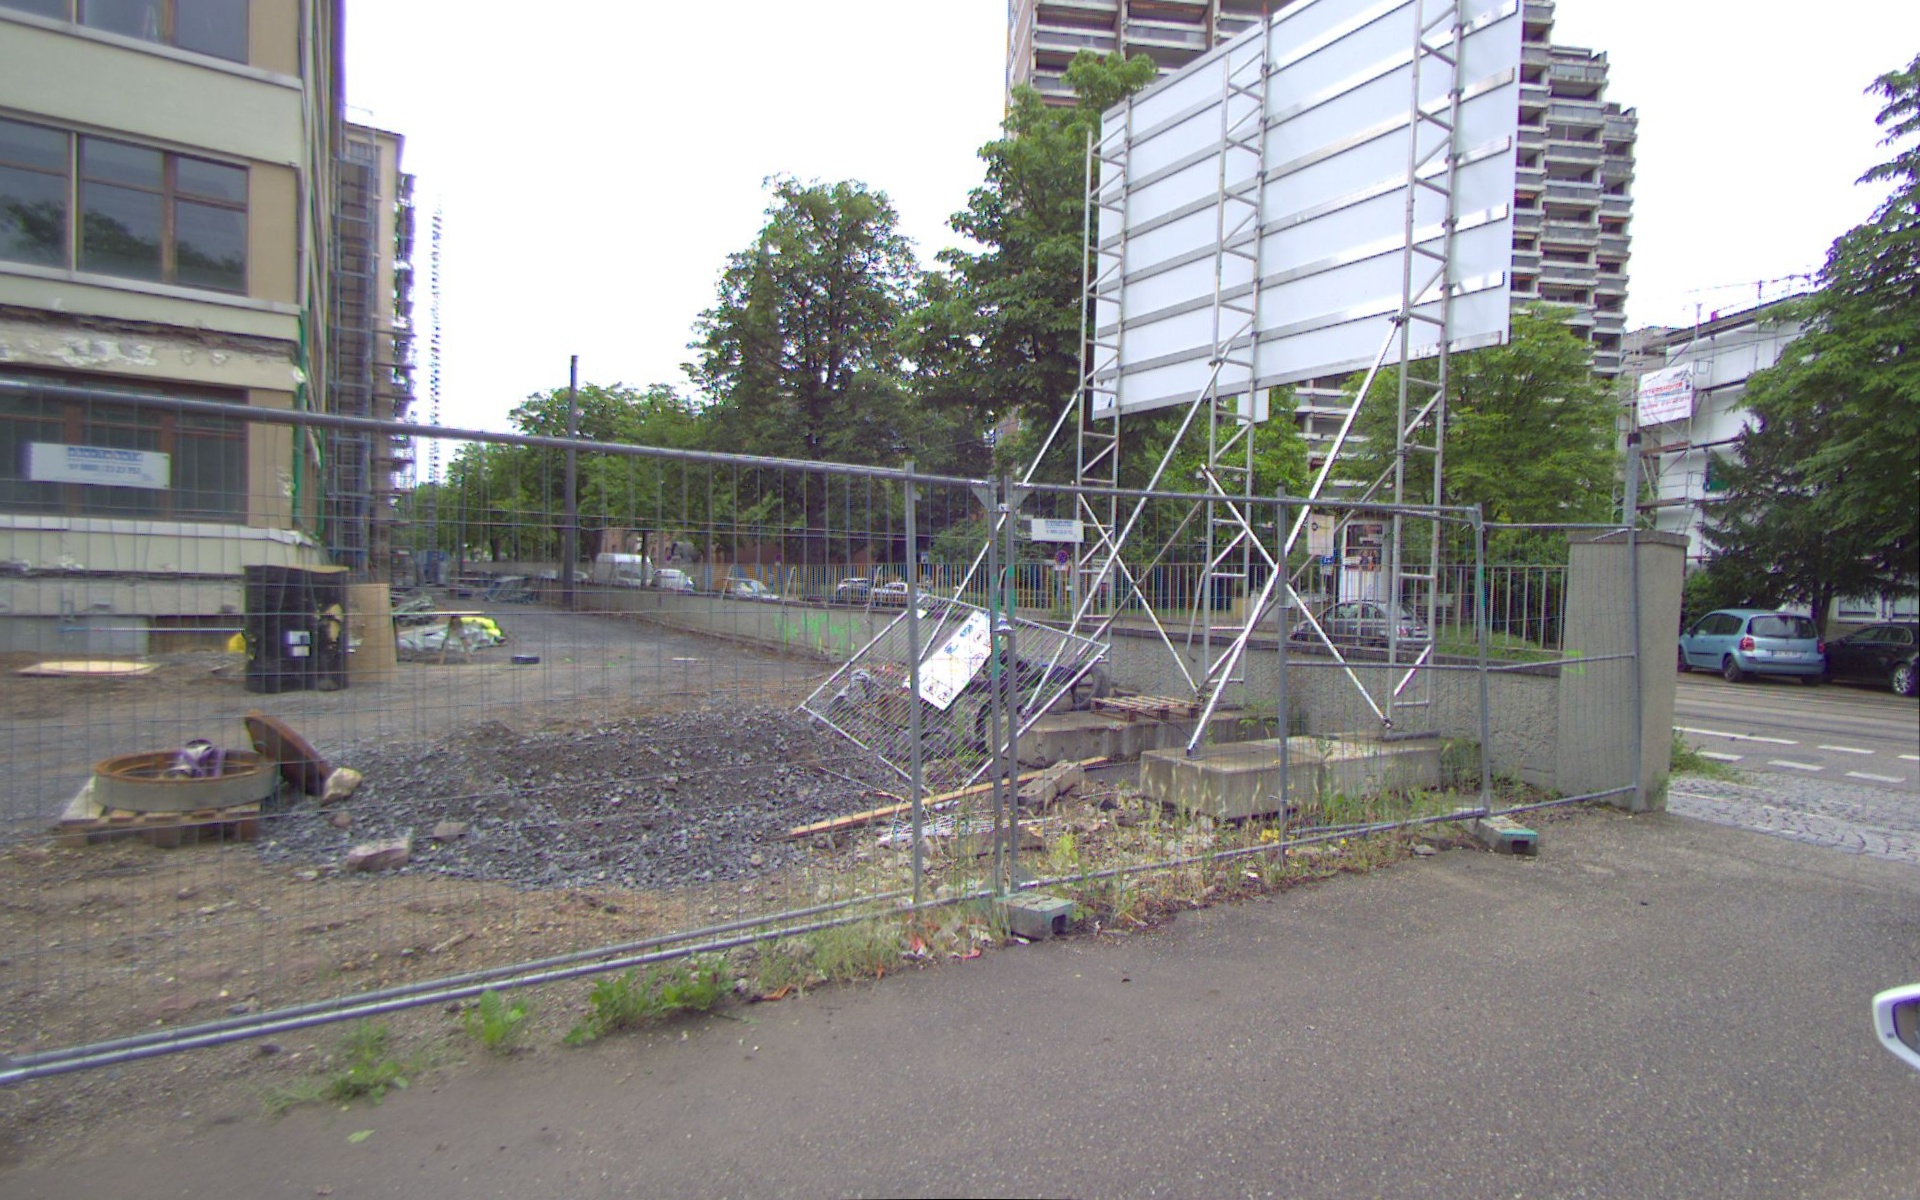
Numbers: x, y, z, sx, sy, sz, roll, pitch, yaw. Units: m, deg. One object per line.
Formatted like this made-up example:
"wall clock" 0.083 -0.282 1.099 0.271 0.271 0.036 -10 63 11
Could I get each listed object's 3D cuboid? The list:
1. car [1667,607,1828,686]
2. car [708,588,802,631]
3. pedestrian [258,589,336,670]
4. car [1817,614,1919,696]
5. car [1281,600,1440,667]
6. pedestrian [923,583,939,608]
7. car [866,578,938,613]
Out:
"car" 17.803 0.989 22.892 1.586 1.557 3.338 2 1 14
"car" -7.277 0.317 35.379 1.978 1.328 3.965 1 1 -31
"pedestrian" -12.579 0.548 19.071 0.916 1.457 0.979 2 0 39
"car" 19.326 1.095 20.369 1.586 1.531 3.339 2 0 14
"car" 9.788 0.777 24.765 1.504 1.439 3.400 1 1 -32
"pedestrian" -1.781 -0.277 62.439 0.838 1.548 0.515 1 2 -44
"car" -2.786 -0.231 47.145 1.711 1.539 3.966 2 1 -31
